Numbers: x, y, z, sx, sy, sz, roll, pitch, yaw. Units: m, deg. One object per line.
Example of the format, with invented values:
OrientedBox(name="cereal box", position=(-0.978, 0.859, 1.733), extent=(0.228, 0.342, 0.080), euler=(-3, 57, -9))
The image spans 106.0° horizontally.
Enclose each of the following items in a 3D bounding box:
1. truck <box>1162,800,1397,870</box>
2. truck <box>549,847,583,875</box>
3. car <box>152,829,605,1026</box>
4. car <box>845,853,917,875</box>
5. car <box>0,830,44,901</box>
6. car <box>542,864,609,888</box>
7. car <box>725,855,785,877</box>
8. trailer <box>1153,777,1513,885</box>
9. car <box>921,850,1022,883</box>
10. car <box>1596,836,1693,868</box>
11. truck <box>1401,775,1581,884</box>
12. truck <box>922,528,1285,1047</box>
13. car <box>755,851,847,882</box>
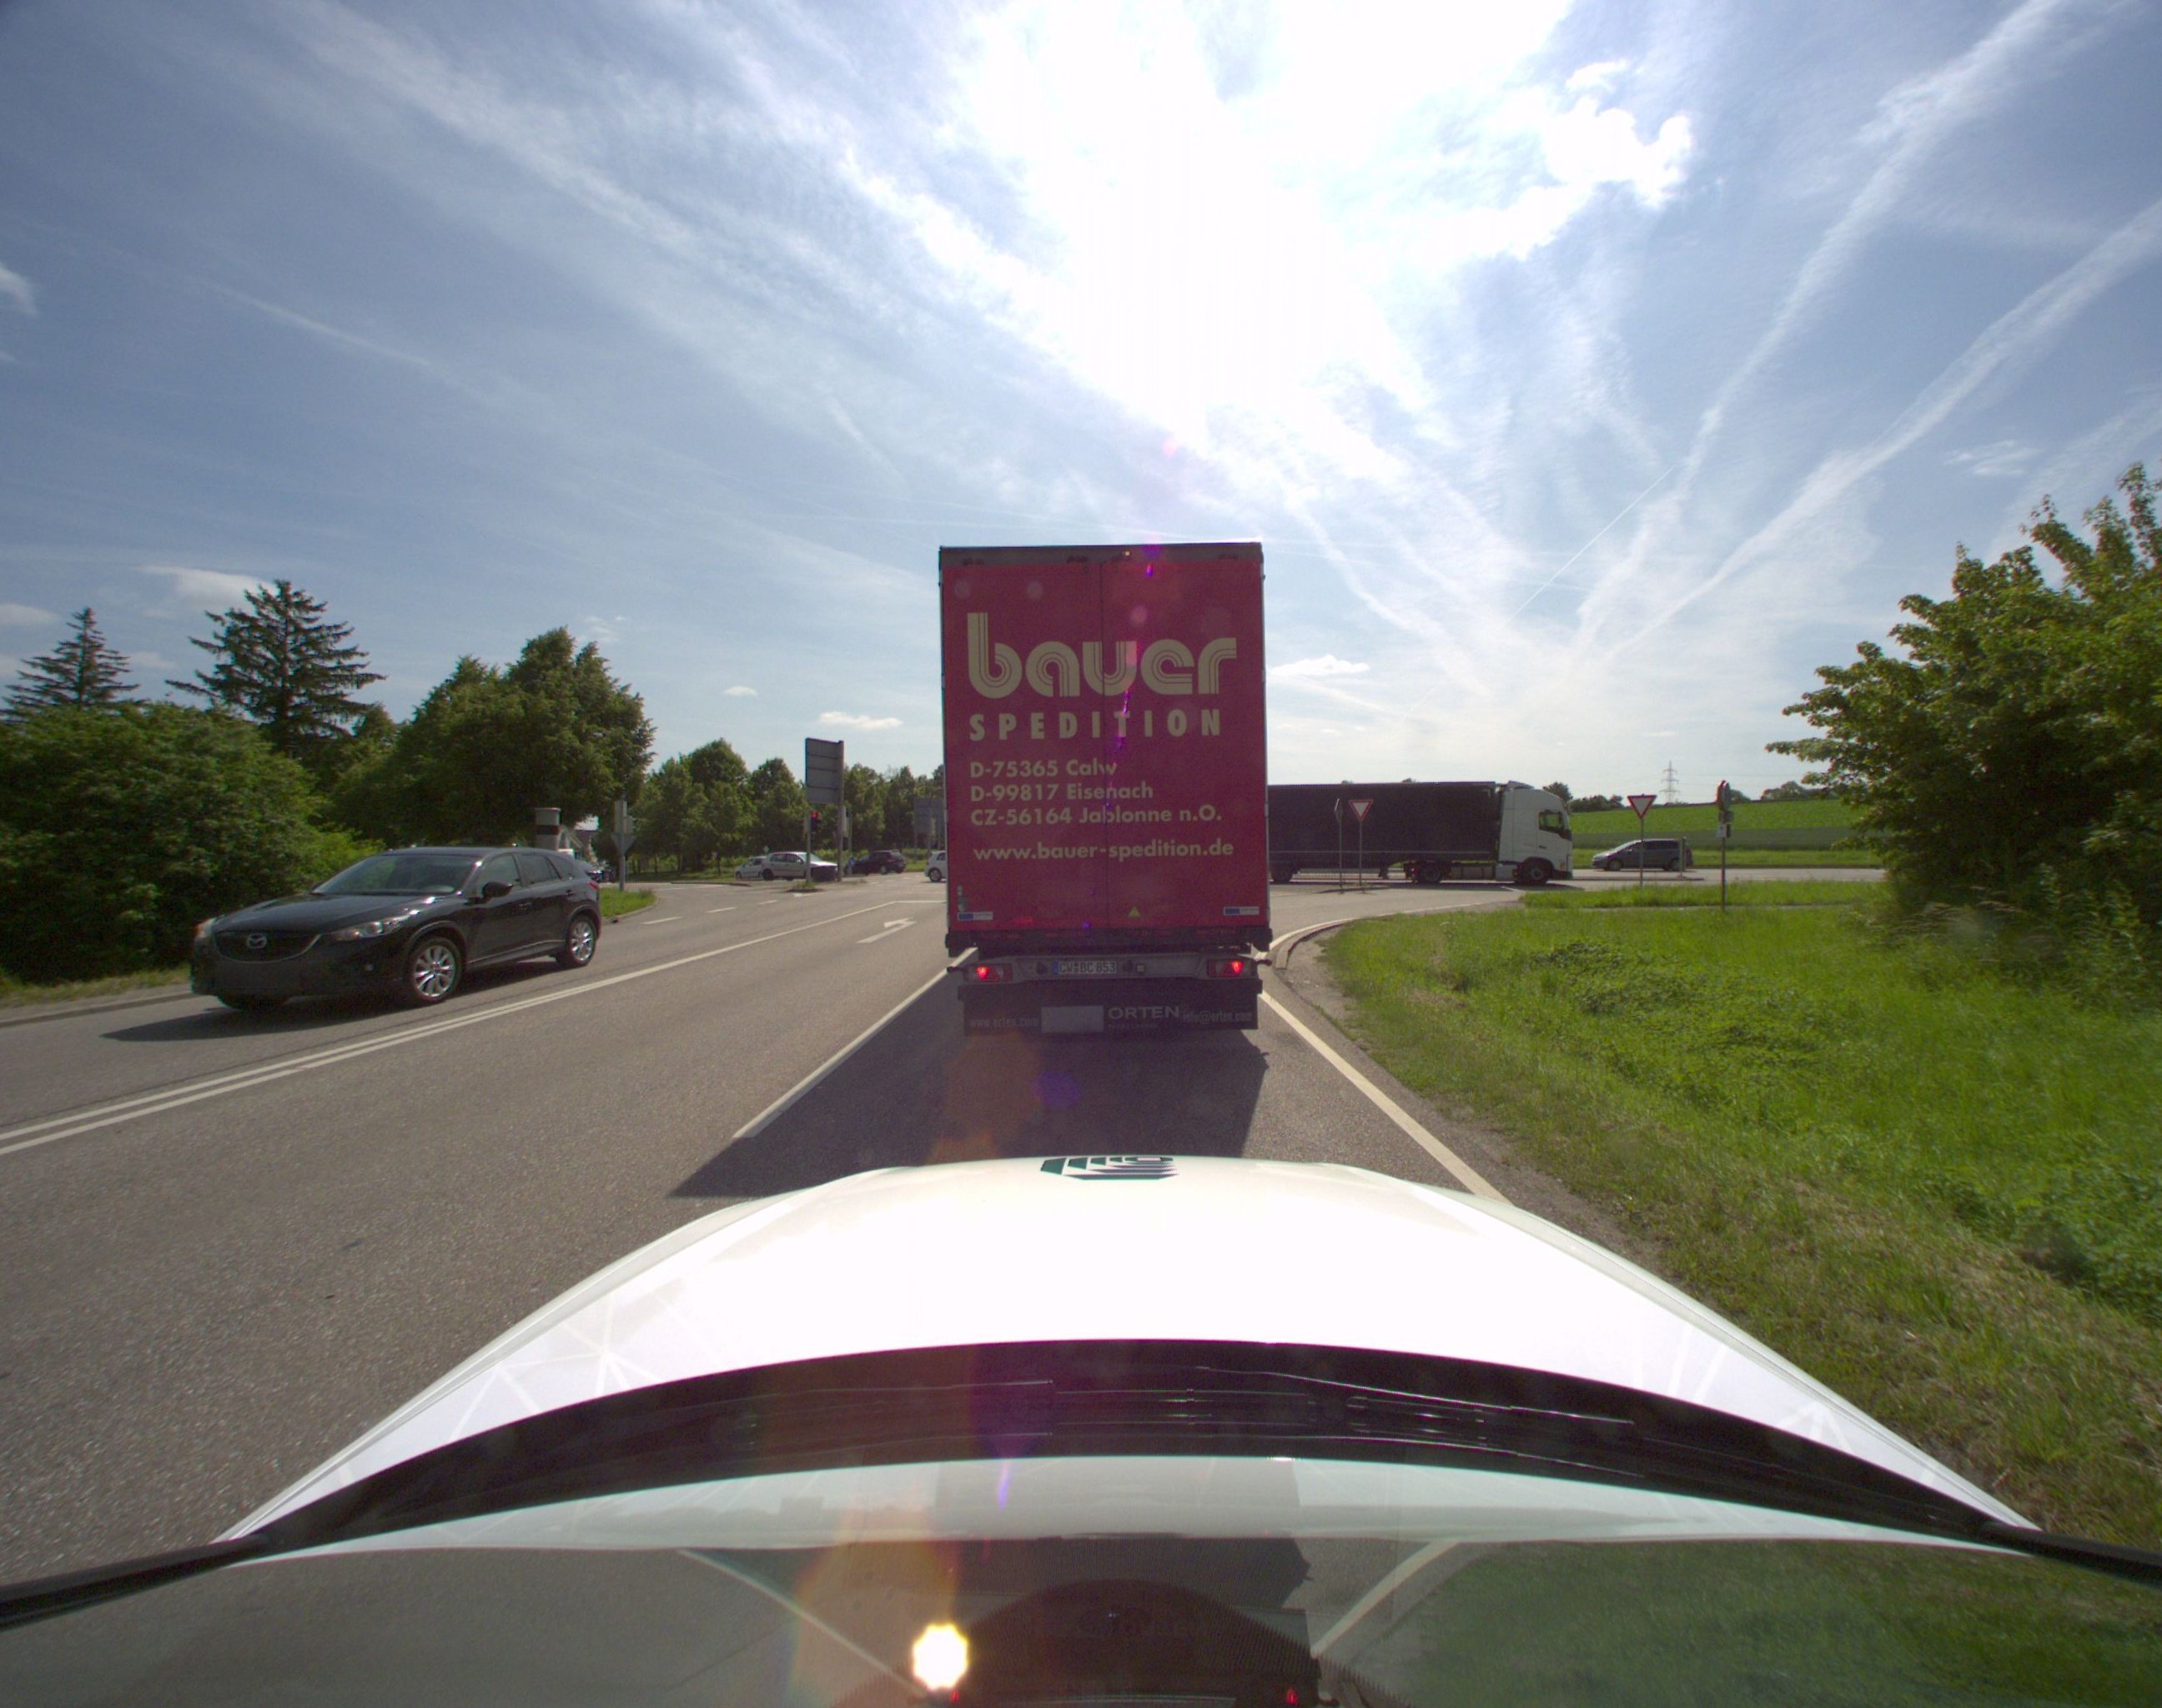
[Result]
OrientedBox(name="truck", position=(12.247, -1.133, 51.568), extent=(14.145, 3.979, 3.047), euler=(0, 1, 30))
OrientedBox(name="truck", position=(-73.226, 1.014, 115.931), extent=(2.951, 3.798, 7.863), euler=(0, -1, -24))
OrientedBox(name="car", position=(-7.581, 0.654, 9.472), extent=(1.863, 1.750, 4.104), euler=(-1, 0, -4))
OrientedBox(name="car", position=(-12.446, 0.639, 50.625), extent=(4.226, 1.305, 1.752), euler=(-1, 0, 29))
OrientedBox(name="car", position=(-35.280, 0.341, 24.514), extent=(4.601, 2.180, 1.985), euler=(0, 0, -22))
OrientedBox(name="car", position=(-30.444, 1.298, 48.991), extent=(4.226, 1.305, 1.753), euler=(0, 0, 33))
OrientedBox(name="car", position=(-22.374, 0.789, 55.865), extent=(3.812, 1.356, 1.687), euler=(1, 4, 28))
OrientedBox(name="trailer", position=(9.957, -0.862, 33.514), extent=(13.584, 4.061, 2.809), euler=(0, 1, 14))
OrientedBox(name="car", position=(-5.024, 0.554, 37.598), extent=(4.212, 1.461, 1.818), euler=(0, 1, 18))
OrientedBox(name="car", position=(29.435, -0.109, 42.645), extent=(3.951, 1.596, 1.674), euler=(0, -1, 25))
OrientedBox(name="truck", position=(15.972, -0.927, 32.124), extent=(5.789, 4.061, 2.807), euler=(0, 1, 10))
OrientedBox(name="truck", position=(0.403, -0.562, 14.539), extent=(2.724, 3.925, 16.631), euler=(-1, 0, 2))
OrientedBox(name="car", position=(-13.966, 0.604, 40.617), extent=(4.002, 1.416, 1.803), euler=(0, 1, 18))
